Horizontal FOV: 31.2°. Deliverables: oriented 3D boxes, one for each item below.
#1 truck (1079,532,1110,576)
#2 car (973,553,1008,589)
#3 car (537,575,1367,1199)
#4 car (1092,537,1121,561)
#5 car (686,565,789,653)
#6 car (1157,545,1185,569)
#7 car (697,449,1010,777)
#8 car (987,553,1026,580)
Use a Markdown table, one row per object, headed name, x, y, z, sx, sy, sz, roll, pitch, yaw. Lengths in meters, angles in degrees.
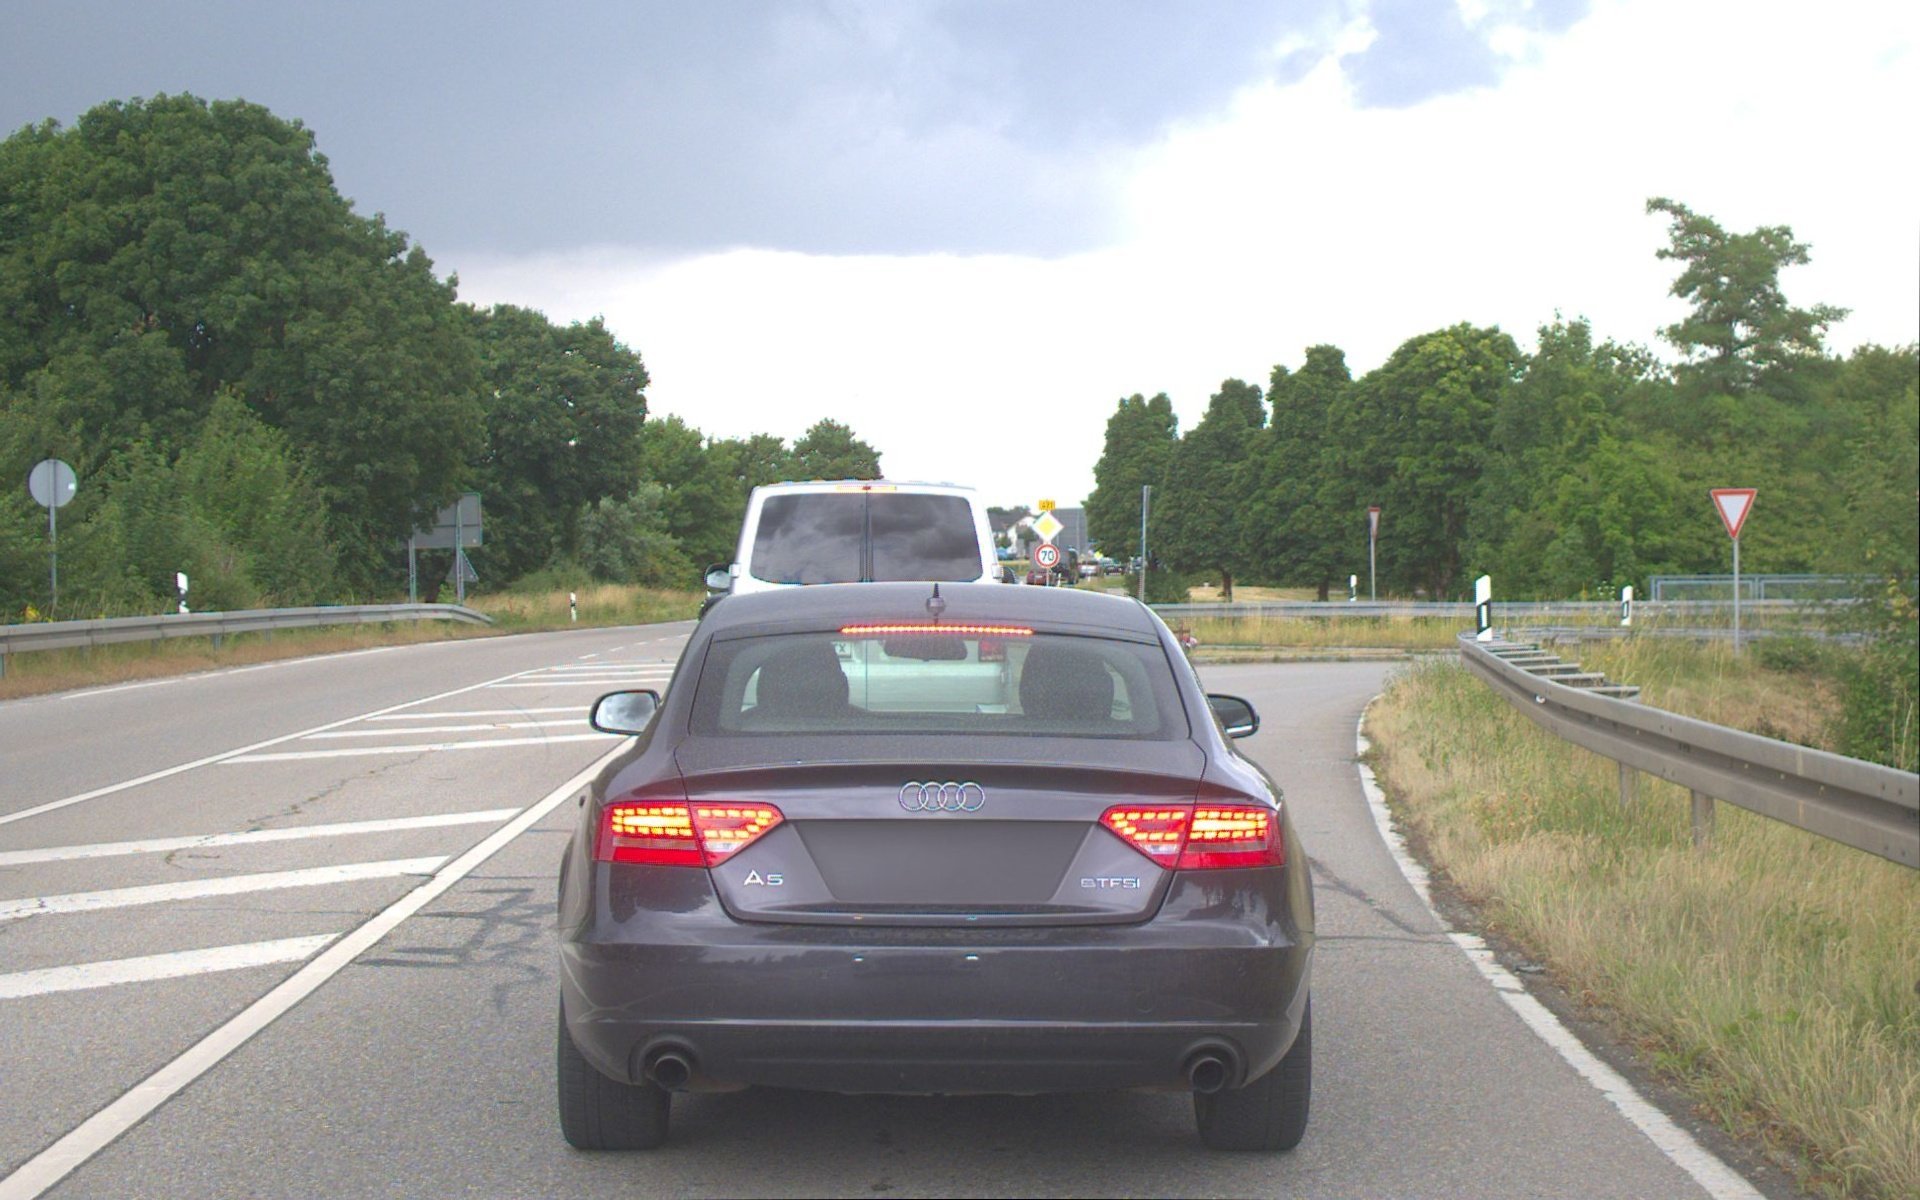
| name | x | y | z | sx | sy | sz | roll | pitch | yaw |
| --- | --- | --- | --- | --- | --- | --- | --- | --- | --- |
| truck | 9.020 | -3.141 | 231.452 | 1.993 | 2.908 | 5.793 | 1 | 1 | 2 |
| car | 1.786 | -1.671 | 198.798 | 1.993 | 2.007 | 4.000 | 1 | 1 | 1 |
| car | -0.070 | 0.647 | 9.059 | 1.779 | 1.394 | 3.337 | 0 | 1 | -2 |
| car | 10.630 | -3.687 | 249.589 | 1.993 | 1.686 | 4.000 | 1 | 1 | 1 |
| car | -4.099 | 0.138 | 63.865 | 1.710 | 1.513 | 4.210 | 1 | 1 | -1 |
| car | 14.897 | -3.037 | 242.789 | 1.876 | 1.686 | 4.000 | 1 | 1 | 4 |
| car | -0.718 | 0.040 | 23.296 | 1.910 | 2.007 | 4.001 | 1 | 1 | -2 |
| car | 2.893 | -2.118 | 215.366 | 2.205 | 1.577 | 4.379 | 1 | 1 | -2 |
